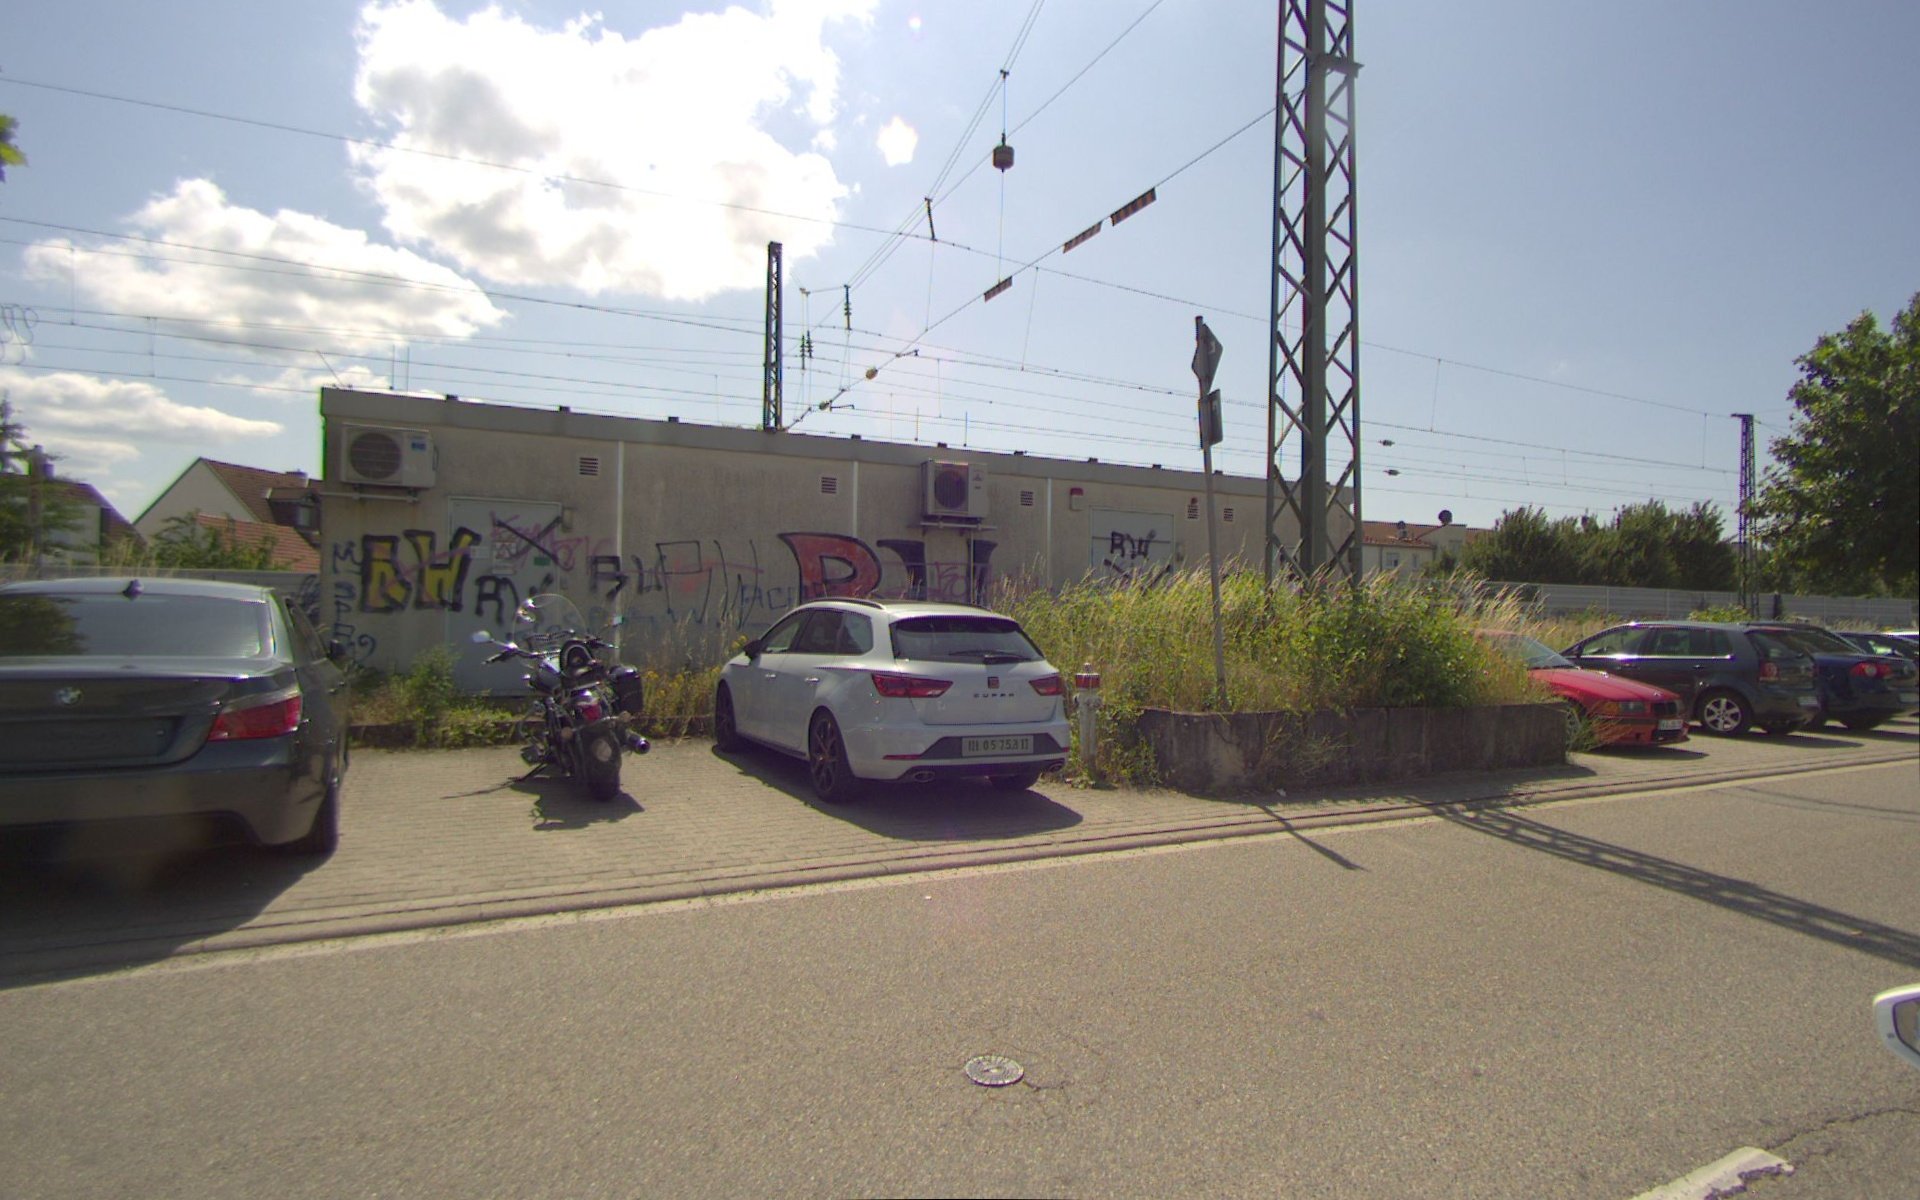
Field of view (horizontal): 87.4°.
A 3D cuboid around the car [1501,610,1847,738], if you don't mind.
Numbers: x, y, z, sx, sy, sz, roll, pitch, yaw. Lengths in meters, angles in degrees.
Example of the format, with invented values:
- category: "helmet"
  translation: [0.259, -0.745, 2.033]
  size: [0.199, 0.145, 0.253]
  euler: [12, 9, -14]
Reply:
- category: "car"
  translation: [9.982, 0.941, 14.334]
  size: [1.664, 1.467, 3.649]
  euler: [1, 1, -29]

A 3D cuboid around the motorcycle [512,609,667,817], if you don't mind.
- category: "motorcycle"
  translation: [-2.894, 0.734, 7.637]
  size: [0.709, 1.298, 2.713]
  euler: [2, -1, -28]

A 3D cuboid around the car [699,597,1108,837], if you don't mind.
- category: "car"
  translation: [-0.738, 0.734, 8.327]
  size: [1.765, 1.420, 4.054]
  euler: [2, 0, -29]

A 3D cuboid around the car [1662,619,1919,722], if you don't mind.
- category: "car"
  translation: [14.217, 1.143, 17.260]
  size: [1.583, 1.558, 3.173]
  euler: [2, -2, -29]

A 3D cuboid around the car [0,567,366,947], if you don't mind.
- category: "car"
  translation: [-4.517, 0.629, 5.817]
  size: [1.767, 1.429, 4.405]
  euler: [2, -2, -30]

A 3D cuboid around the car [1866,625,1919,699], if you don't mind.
- category: "car"
  translation: [21.901, 1.373, 20.771]
  size: [1.902, 1.553, 4.320]
  euler: [1, 0, -28]

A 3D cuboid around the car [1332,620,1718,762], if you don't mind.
- category: "car"
  translation: [6.905, 0.999, 12.765]
  size: [1.652, 1.387, 4.058]
  euler: [0, 0, -27]

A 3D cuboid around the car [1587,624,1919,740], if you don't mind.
- category: "car"
  translation: [12.117, 1.150, 15.423]
  size: [1.761, 1.469, 3.936]
  euler: [2, -1, -23]

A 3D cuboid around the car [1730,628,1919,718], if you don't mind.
- category: "car"
  translation: [16.792, 1.299, 18.303]
  size: [1.764, 1.492, 4.058]
  euler: [2, -2, -27]

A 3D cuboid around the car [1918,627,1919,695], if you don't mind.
- category: "car"
  translation: [24.150, 1.460, 22.164]
  size: [1.976, 1.568, 3.969]
  euler: [2, -1, -29]
